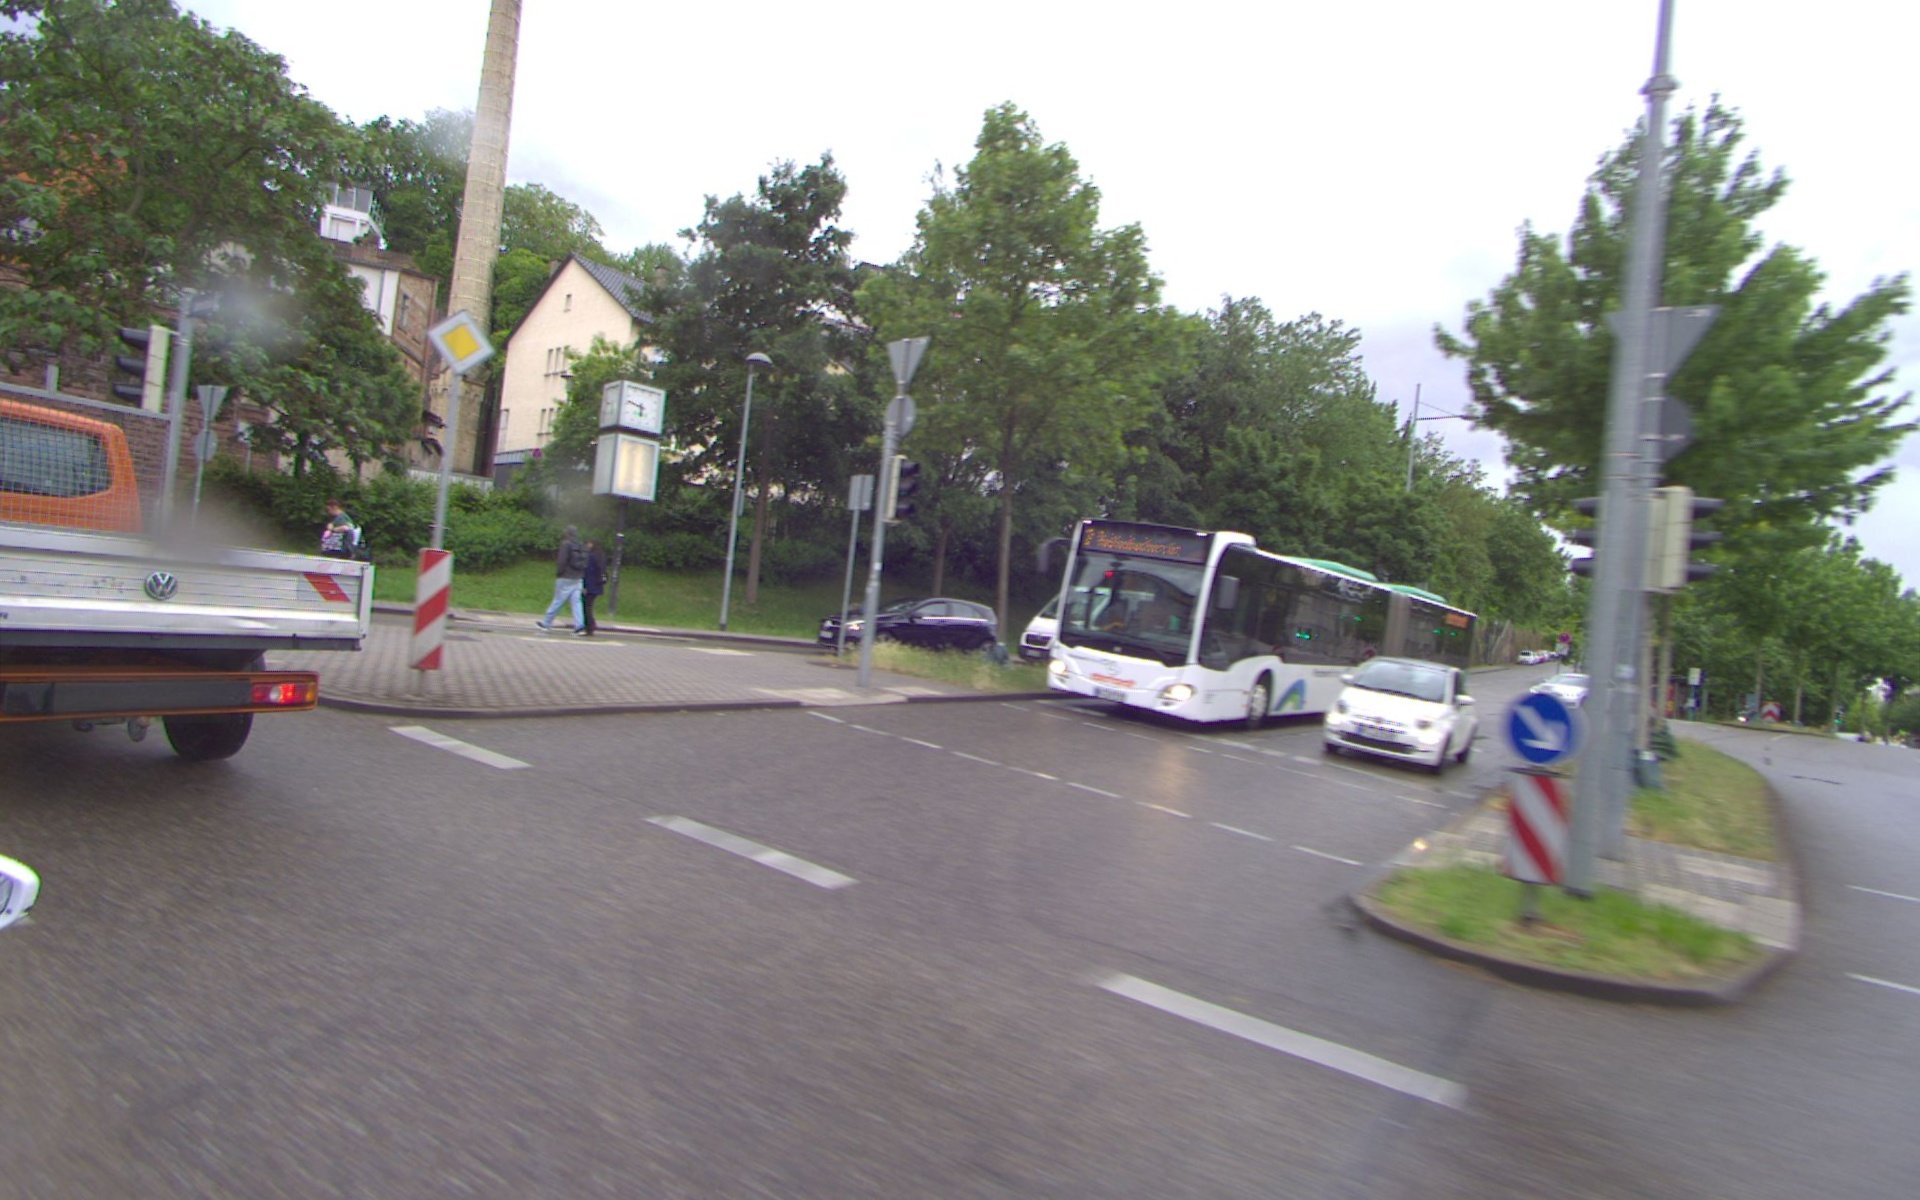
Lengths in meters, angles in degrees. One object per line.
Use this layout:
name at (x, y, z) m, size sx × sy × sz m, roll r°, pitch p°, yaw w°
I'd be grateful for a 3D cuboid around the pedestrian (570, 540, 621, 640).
pedestrian at (-6.530, -0.177, 18.044) m, size 0.518 × 1.728 × 0.558 m, roll 6°, pitch 2°, yaw 4°

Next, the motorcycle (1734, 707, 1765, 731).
motorcycle at (43.010, 6.459, 54.767) m, size 2.666 × 1.132 × 0.565 m, roll 7°, pitch -1°, yaw -37°

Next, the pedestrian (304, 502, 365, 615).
pedestrian at (-10.856, -0.727, 17.474) m, size 0.685 × 1.855 × 0.738 m, roll 5°, pitch 3°, yaw -24°

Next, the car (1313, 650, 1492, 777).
car at (6.683, 1.672, 15.011) m, size 1.565 × 1.469 × 3.559 m, roll 8°, pitch -1°, yaw 36°

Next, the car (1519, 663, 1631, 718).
car at (24.120, 3.570, 39.421) m, size 4.833 × 1.672 × 1.980 m, roll 7°, pitch -1°, yaw -37°

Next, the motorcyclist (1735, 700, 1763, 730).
motorcyclist at (42.909, 6.242, 54.685) m, size 1.230 × 1.454 × 0.798 m, roll 7°, pitch 0°, yaw -36°

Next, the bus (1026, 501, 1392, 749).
bus at (5.078, 0.548, 18.306) m, size 2.663 × 3.258 × 9.621 m, roll 8°, pitch 1°, yaw 36°

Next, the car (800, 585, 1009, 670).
car at (-1.144, 0.609, 21.497) m, size 4.057 × 1.391 × 1.779 m, roll 6°, pitch 0°, yaw -34°

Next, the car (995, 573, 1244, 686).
car at (4.141, 0.796, 25.391) m, size 6.281 × 2.262 × 2.235 m, roll 6°, pitch 0°, yaw -35°

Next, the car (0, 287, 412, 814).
car at (-6.007, -0.335, 5.878) m, size 5.446 × 2.113 × 2.108 m, roll 5°, pitch -3°, yaw 28°

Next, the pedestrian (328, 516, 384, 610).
pedestrian at (-10.958, -0.666, 18.274) m, size 0.696 × 1.621 × 0.599 m, roll 4°, pitch 3°, yaw -21°

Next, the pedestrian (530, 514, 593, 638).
pedestrian at (-6.890, -0.411, 17.432) m, size 0.775 × 2.040 × 0.586 m, roll 6°, pitch 2°, yaw -16°

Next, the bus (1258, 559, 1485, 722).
bus at (10.659, 1.227, 25.393) m, size 2.648 × 3.218 × 8.529 m, roll 8°, pitch -1°, yaw 39°
